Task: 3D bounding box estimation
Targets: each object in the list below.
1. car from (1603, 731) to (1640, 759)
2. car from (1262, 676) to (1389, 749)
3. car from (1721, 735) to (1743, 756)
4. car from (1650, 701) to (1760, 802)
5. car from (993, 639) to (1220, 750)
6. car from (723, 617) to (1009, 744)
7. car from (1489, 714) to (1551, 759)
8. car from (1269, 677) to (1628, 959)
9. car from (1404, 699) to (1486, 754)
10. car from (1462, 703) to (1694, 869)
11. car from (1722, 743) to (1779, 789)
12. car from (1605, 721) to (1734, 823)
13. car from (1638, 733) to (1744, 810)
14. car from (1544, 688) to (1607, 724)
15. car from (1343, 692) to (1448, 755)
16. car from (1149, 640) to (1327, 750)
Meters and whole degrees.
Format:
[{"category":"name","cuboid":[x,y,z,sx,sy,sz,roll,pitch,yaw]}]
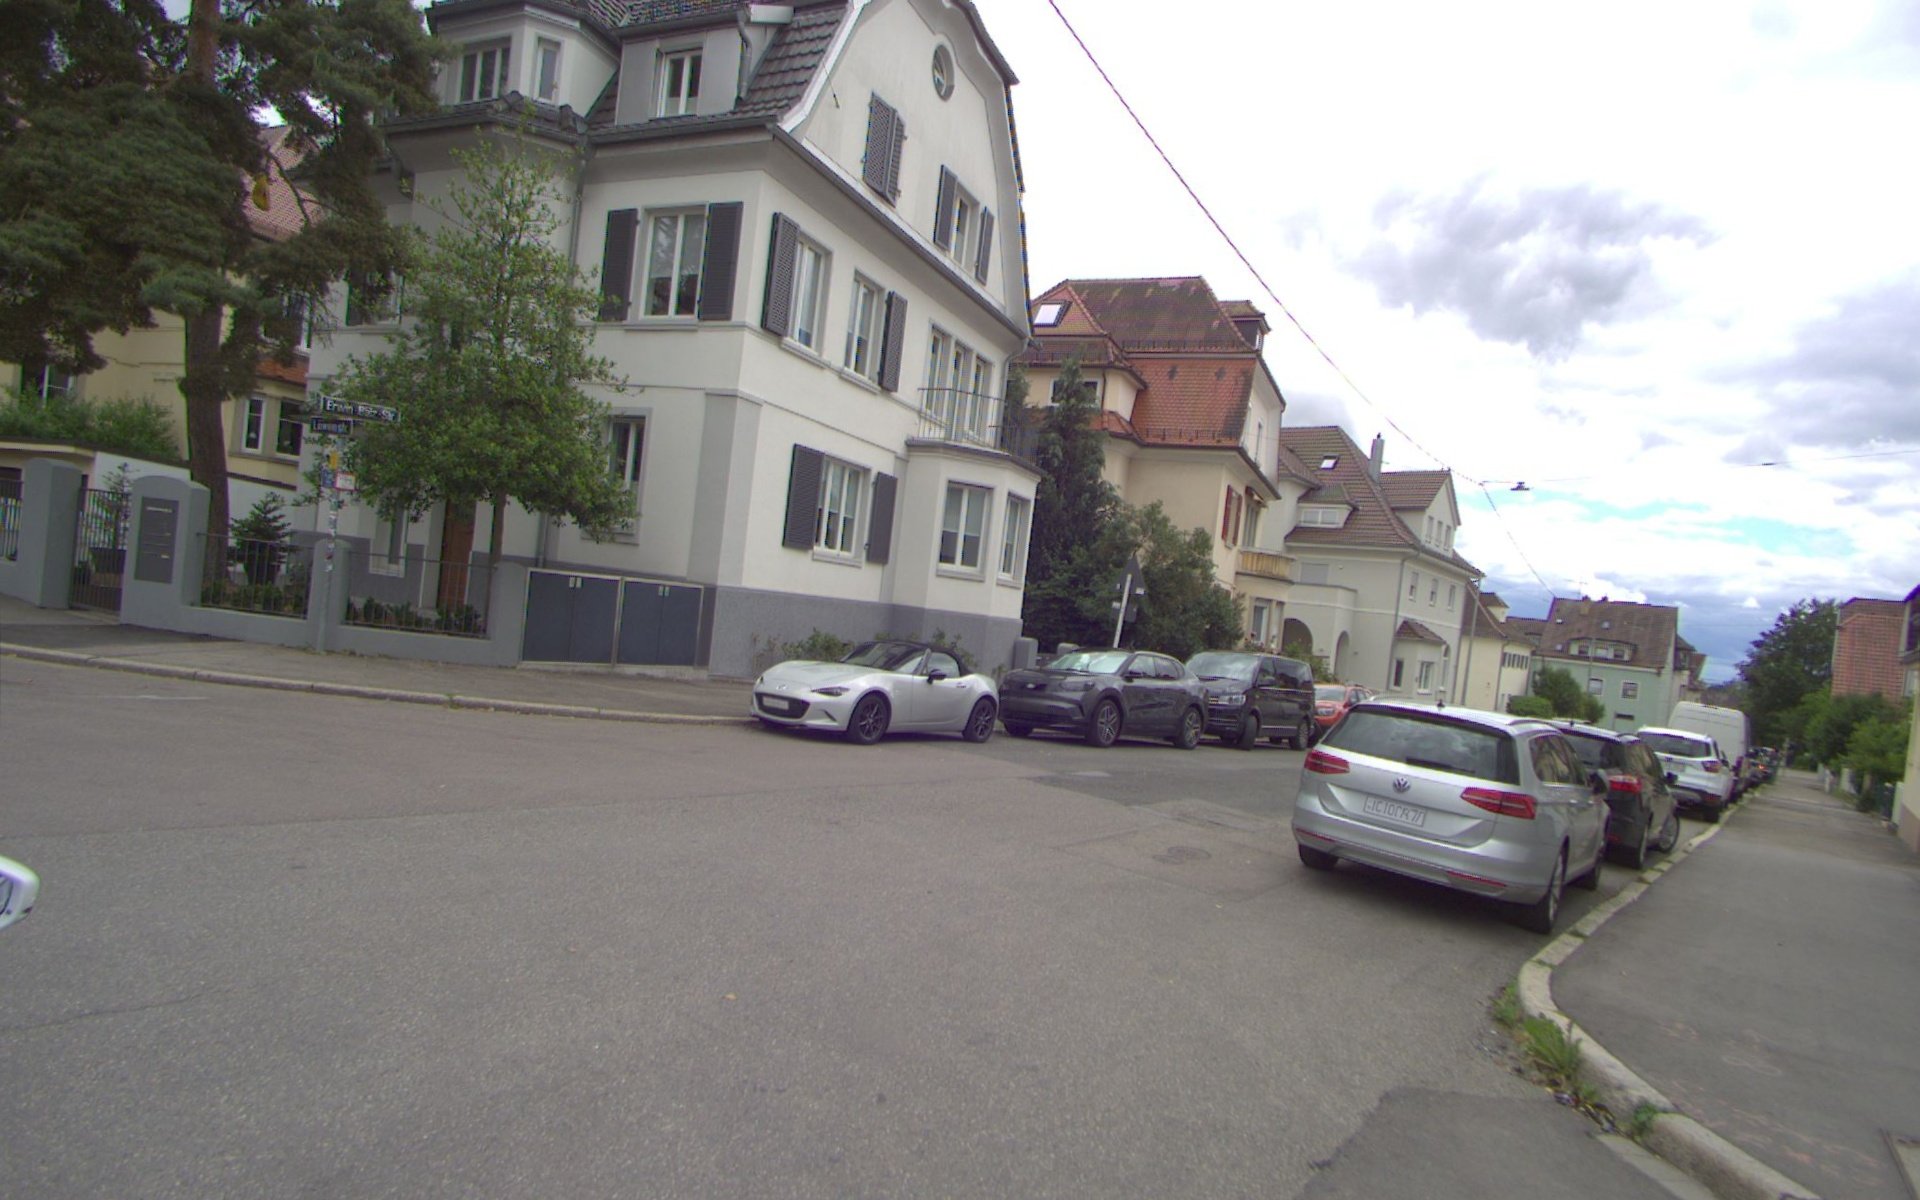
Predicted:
[{"category":"car","cuboid":[44.227,9.701,67.238,1.595,1.577,3.731,7,-2,39]},{"category":"car","cuboid":[9.162,2.836,25.058,1.744,1.529,3.962,3,-5,38]},{"category":"car","cuboid":[97.760,18.456,127.419,1.812,2.345,3.877,7,-2,36]},{"category":"car","cuboid":[22.798,4.602,30.661,2.085,2.442,5.873,8,-2,41]},{"category":"car","cuboid":[2.539,1.610,16.594,1.648,1.457,4.189,2,-6,41]},{"category":"car","cuboid":[-1.064,1.077,12.789,1.645,1.275,3.472,4,-4,36]},{"category":"car","cuboid":[24.140,5.906,43.316,1.595,1.577,3.963,7,-2,39]},{"category":"car","cuboid":[4.298,1.605,8.417,1.737,1.467,4.346,8,-1,37]},{"category":"car","cuboid":[16.228,4.208,33.582,1.596,1.577,3.961,3,-4,38]},{"category":"car","cuboid":[7.752,2.217,12.433,1.713,1.438,3.985,8,-2,41]},{"category":"car","cuboid":[33.876,7.089,43.060,1.703,1.605,3.875,6,-3,40]},{"category":"car","cuboid":[14.852,3.544,20.966,1.841,1.624,3.988,7,-3,39]},{"category":"car","cuboid":[18.356,4.251,25.197,1.713,1.470,3.986,8,-2,41]},{"category":"car","cuboid":[48.193,8.263,78.783,3.934,2.041,1.799,8,3,32]},{"category":"car","cuboid":[12.565,3.551,28.913,1.744,1.530,3.961,3,-4,38]},{"category":"car","cuboid":[5.867,2.017,20.829,1.865,1.913,4.502,3,-5,38]}]
